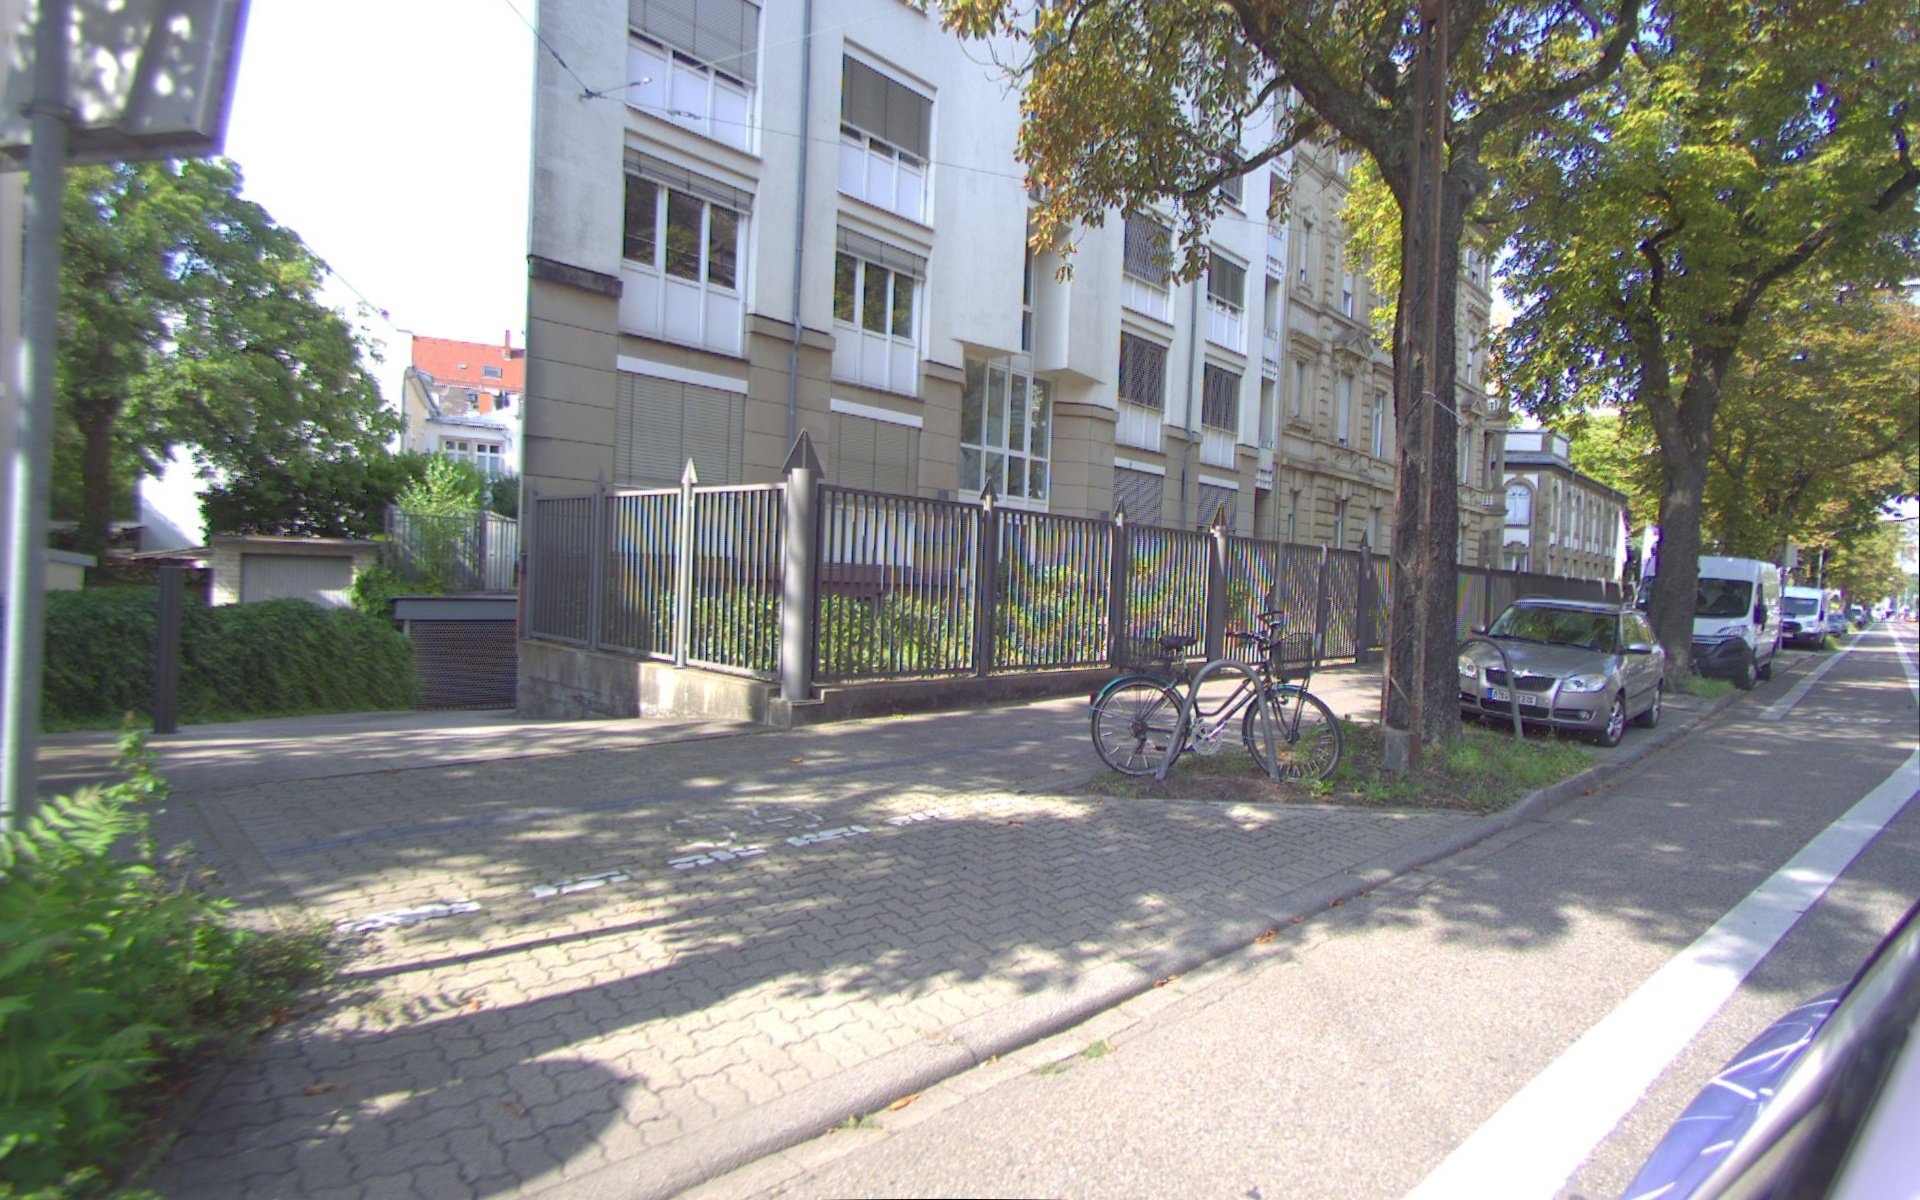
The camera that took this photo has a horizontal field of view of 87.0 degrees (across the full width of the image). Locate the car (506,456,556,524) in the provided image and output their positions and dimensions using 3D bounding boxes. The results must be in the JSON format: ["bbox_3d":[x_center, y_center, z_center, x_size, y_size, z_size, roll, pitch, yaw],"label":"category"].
[{"bbox_3d":[-19.619,-4.956,46.424,1.958,2.689,4.991,1,2,-22],"label":"car"}]

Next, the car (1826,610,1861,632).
[{"bbox_3d":[61.386,1.440,70.280,1.752,1.374,3.730,4,2,42],"label":"car"}]

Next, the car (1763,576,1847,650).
[{"bbox_3d":[33.396,0.494,39.935,1.995,2.572,5.774,6,3,44],"label":"car"}]

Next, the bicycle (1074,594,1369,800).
[{"bbox_3d":[1.753,0.645,6.993,1.809,1.179,0.505,4,7,4],"label":"bicycle"}]

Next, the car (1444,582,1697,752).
[{"bbox_3d":[7.396,0.663,12.058,1.608,1.542,4.289,8,5,43],"label":"car"}]

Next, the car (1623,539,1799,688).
[{"bbox_3d":[15.323,0.219,20.476,2.046,2.529,6.131,4,2,43],"label":"car"}]

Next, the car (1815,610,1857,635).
[{"bbox_3d":[52.323,1.320,60.431,1.752,1.374,3.730,4,2,42],"label":"car"}]
